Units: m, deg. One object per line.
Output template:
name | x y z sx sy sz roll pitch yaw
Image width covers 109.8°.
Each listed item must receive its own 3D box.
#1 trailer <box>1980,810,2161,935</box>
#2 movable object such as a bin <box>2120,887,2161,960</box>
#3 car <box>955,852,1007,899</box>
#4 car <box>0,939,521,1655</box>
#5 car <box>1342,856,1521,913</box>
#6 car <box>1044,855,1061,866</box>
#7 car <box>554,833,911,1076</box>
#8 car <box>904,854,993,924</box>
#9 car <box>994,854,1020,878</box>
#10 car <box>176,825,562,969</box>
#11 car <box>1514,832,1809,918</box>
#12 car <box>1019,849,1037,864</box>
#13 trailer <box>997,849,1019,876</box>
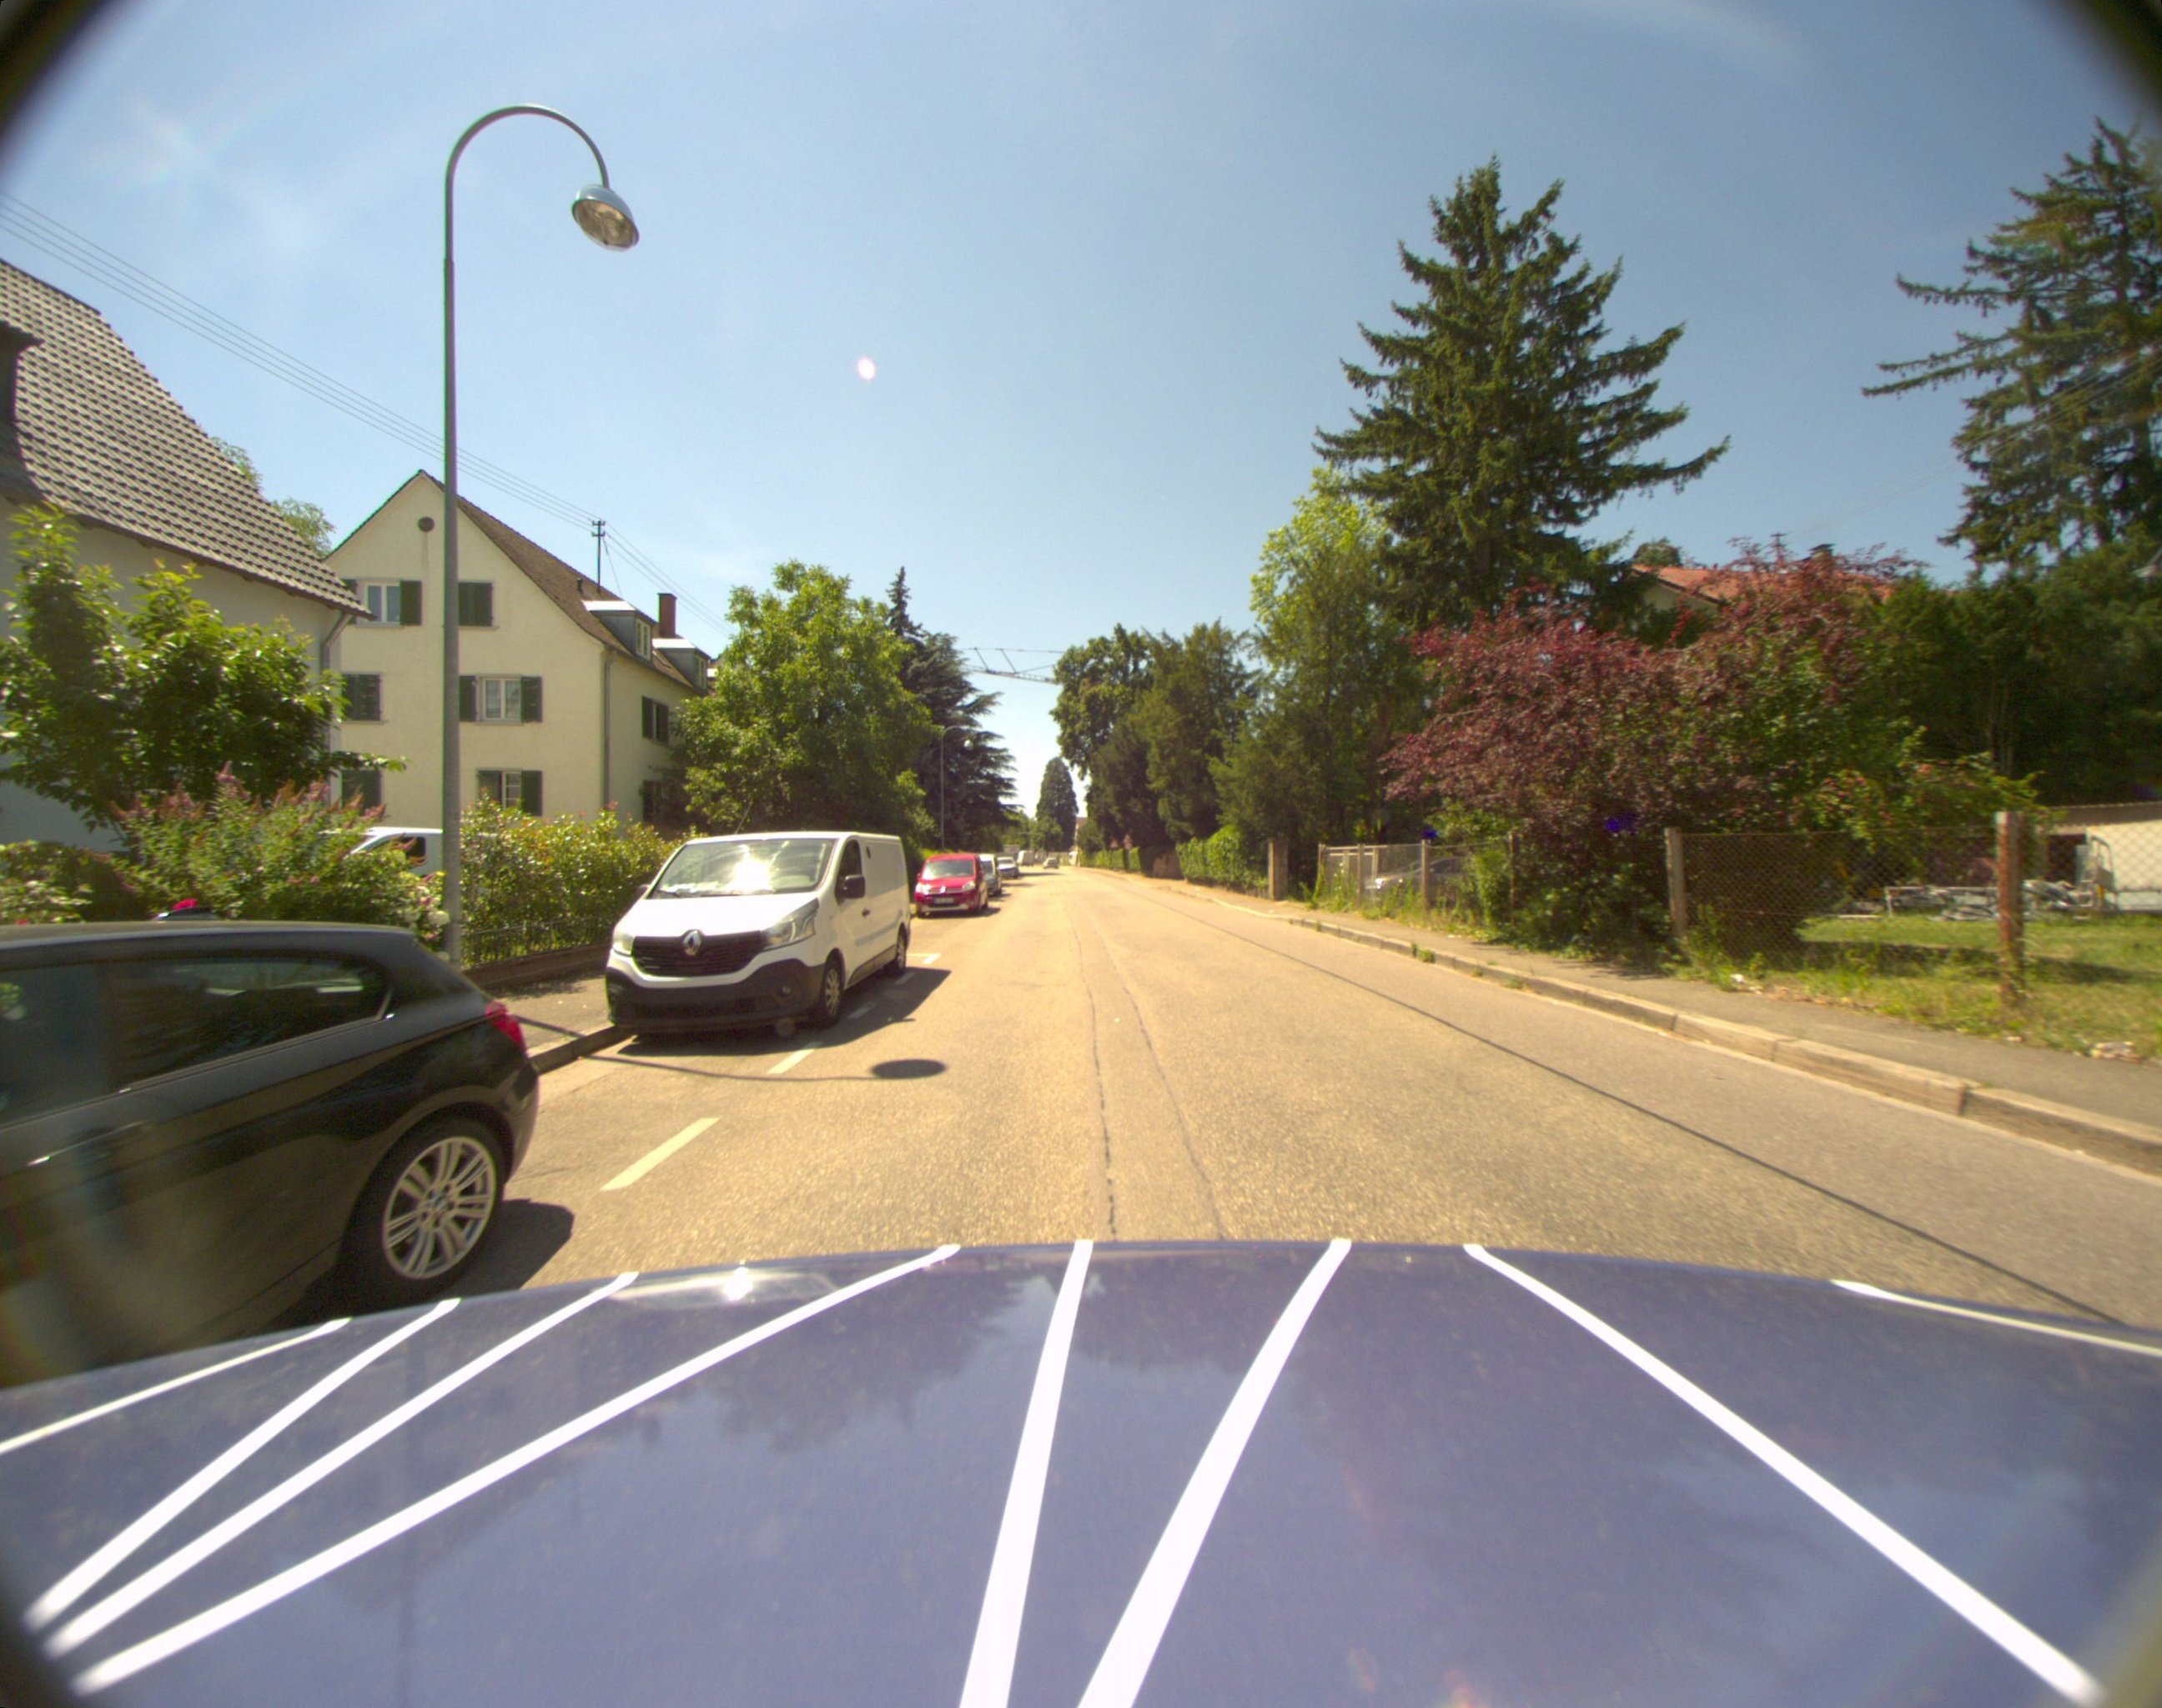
trailer | 19.612 0.319 13.882 3.880 2.158 1.825 -1 0 8
movable object such as a bin | 12.890 0.813 8.850 0.567 0.823 0.723 -2 0 2
car | -4.197 0.849 32.385 1.751 1.772 4.542 -2 0 -3
car | -3.193 1.063 1.176 1.660 1.390 4.000 -1 0 0
car | 9.465 0.796 20.787 3.996 1.416 1.969 1 0 2
car | -3.827 0.821 101.395 1.870 1.375 4.601 0 0 -8
car | -3.349 0.821 8.533 1.908 1.913 4.718 -2 0 -2
car | -3.732 0.913 22.131 1.908 1.718 4.390 -3 0 -2
car | -5.492 0.897 56.600 1.777 1.622 4.602 -3 0 -5
car | -10.962 0.611 12.265 1.748 1.845 4.402 2 -1 7
car | 16.015 0.575 21.188 6.681 2.158 2.401 1 0 -6
car | -8.844 0.446 126.544 2.001 2.518 5.887 -1 0 -13
trailer | -5.928 0.645 61.866 1.685 2.056 3.705 -3 1 -5
